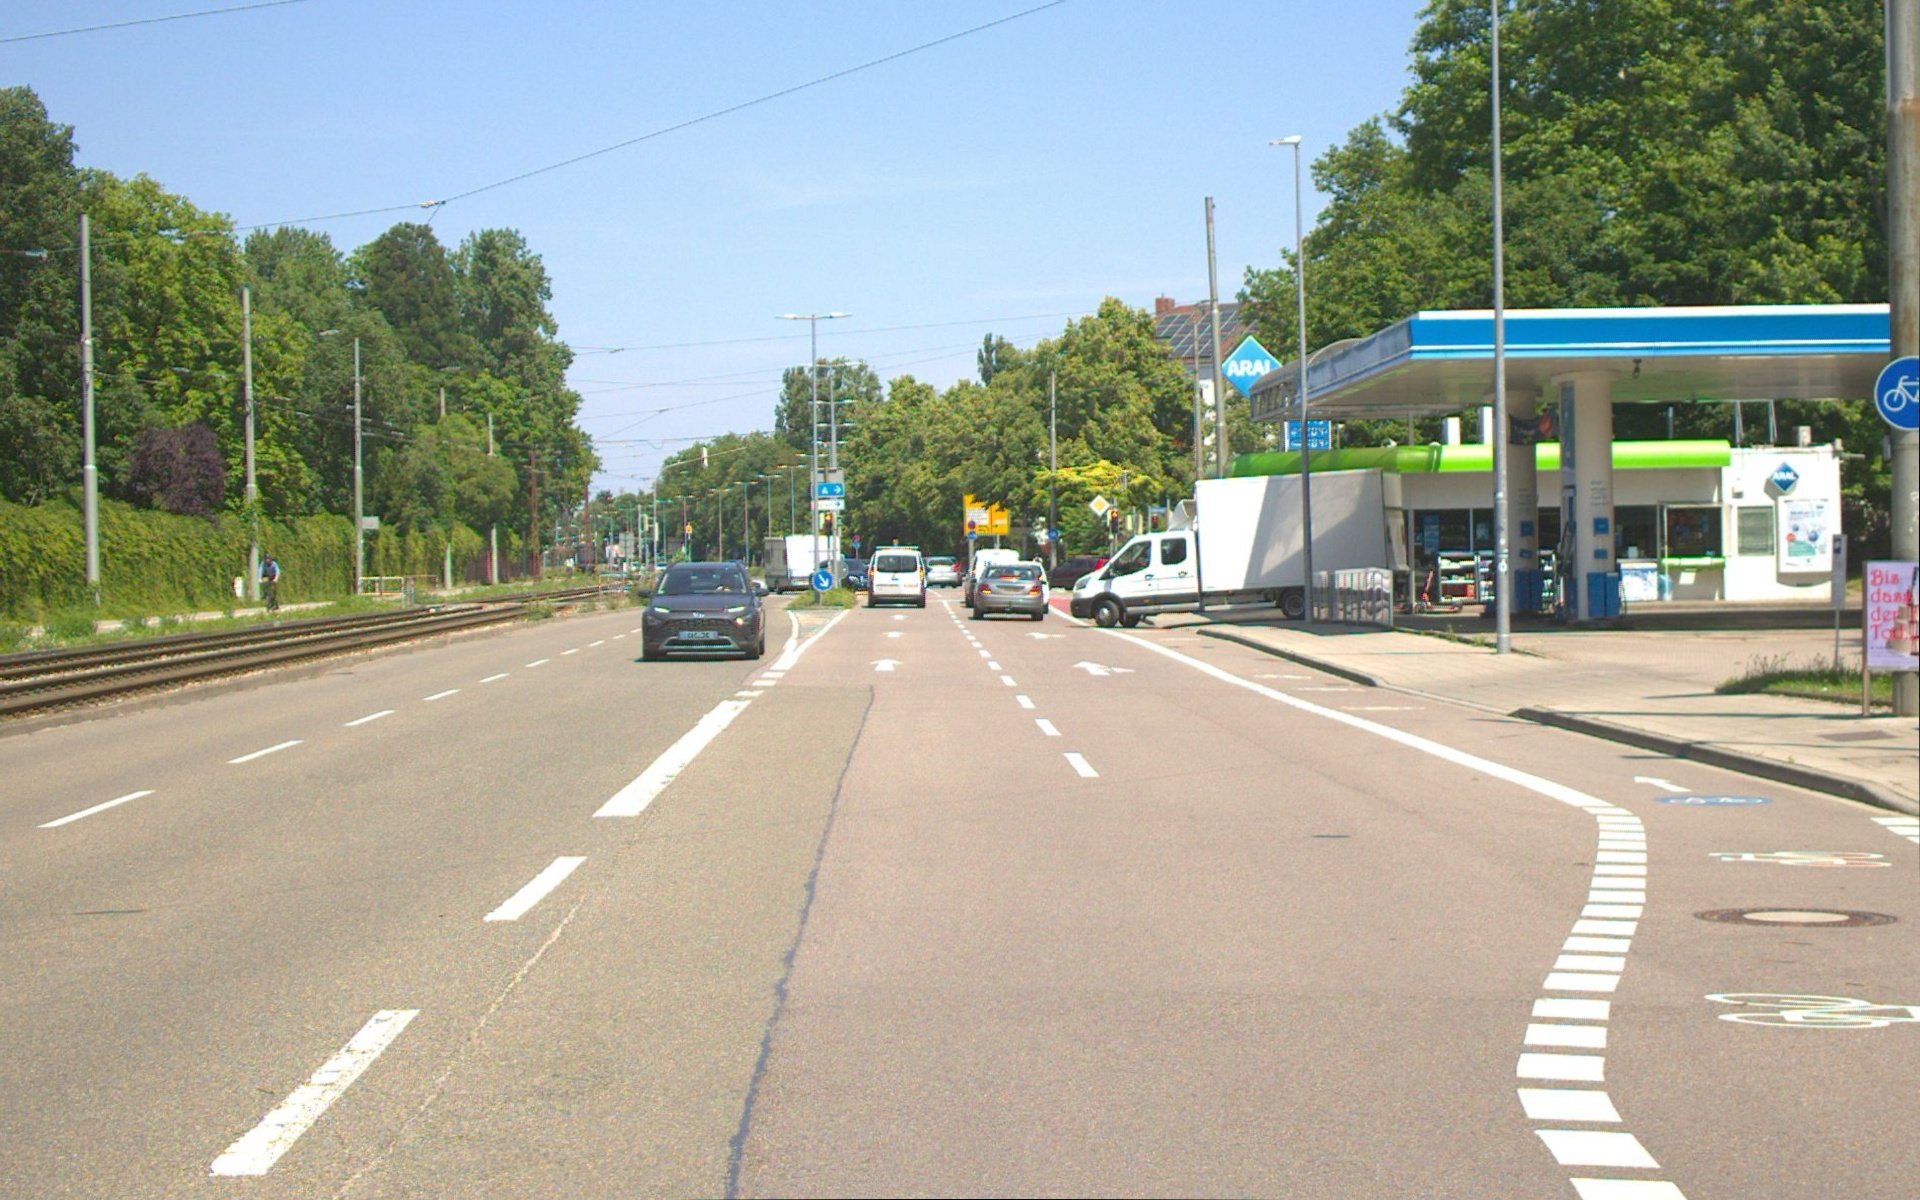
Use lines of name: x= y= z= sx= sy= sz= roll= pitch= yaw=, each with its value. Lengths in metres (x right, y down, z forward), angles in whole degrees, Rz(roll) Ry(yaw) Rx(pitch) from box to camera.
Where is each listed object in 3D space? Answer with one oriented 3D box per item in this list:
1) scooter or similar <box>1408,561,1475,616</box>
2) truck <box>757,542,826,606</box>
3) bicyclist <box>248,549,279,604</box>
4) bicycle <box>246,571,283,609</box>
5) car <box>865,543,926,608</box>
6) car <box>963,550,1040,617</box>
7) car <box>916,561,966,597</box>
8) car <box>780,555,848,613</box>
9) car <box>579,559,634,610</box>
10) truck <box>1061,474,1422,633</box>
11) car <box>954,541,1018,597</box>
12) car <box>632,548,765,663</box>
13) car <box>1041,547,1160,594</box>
scooter or similar: x=11.692 y=-0.286 z=83.490 sx=1.553 sy=1.323 sz=0.537 roll=0 pitch=1 yaw=-2
truck: x=-7.373 y=-1.162 z=149.238 sx=2.533 sy=2.670 sz=11.819 roll=-1 pitch=1 yaw=-5
bicyclist: x=-20.889 y=-0.701 z=103.078 sx=0.681 sy=1.569 sz=0.795 roll=-5 pitch=-1 yaw=-3
bicycle: x=-20.858 y=-0.284 z=103.134 sx=0.681 sy=1.050 sz=2.009 roll=-5 pitch=0 yaw=-3
car: x=-2.003 y=-0.762 z=105.697 sx=1.755 sy=1.868 sz=4.324 roll=-3 pitch=1 yaw=-1
car: x=1.050 y=-0.435 z=89.176 sx=1.755 sy=1.625 sz=4.324 roll=-3 pitch=1 yaw=-1
car: x=-0.959 y=-1.023 z=168.195 sx=1.755 sy=1.625 sz=4.325 roll=-3 pitch=1 yaw=-9
car: x=-4.374 y=-0.501 z=103.458 sx=1.755 sy=1.625 sz=4.324 roll=-3 pitch=1 yaw=0
car: x=-12.198 y=-0.537 z=118.320 sx=1.755 sy=1.625 sz=4.325 roll=-3 pitch=1 yaw=-7
truck: x=6.588 y=-1.067 z=80.497 sx=7.975 sy=3.590 sz=2.660 roll=0 pitch=1 yaw=19
car: x=0.785 y=-0.952 z=106.923 sx=1.755 sy=1.625 sz=4.324 roll=-3 pitch=1 yaw=-1
car: x=-4.001 y=0.060 z=53.146 sx=1.755 sy=1.625 sz=4.324 roll=-3 pitch=1 yaw=-1
car: x=5.493 y=-1.146 z=134.736 sx=4.317 sy=1.653 sz=1.758 roll=-2 pitch=1 yaw=33
